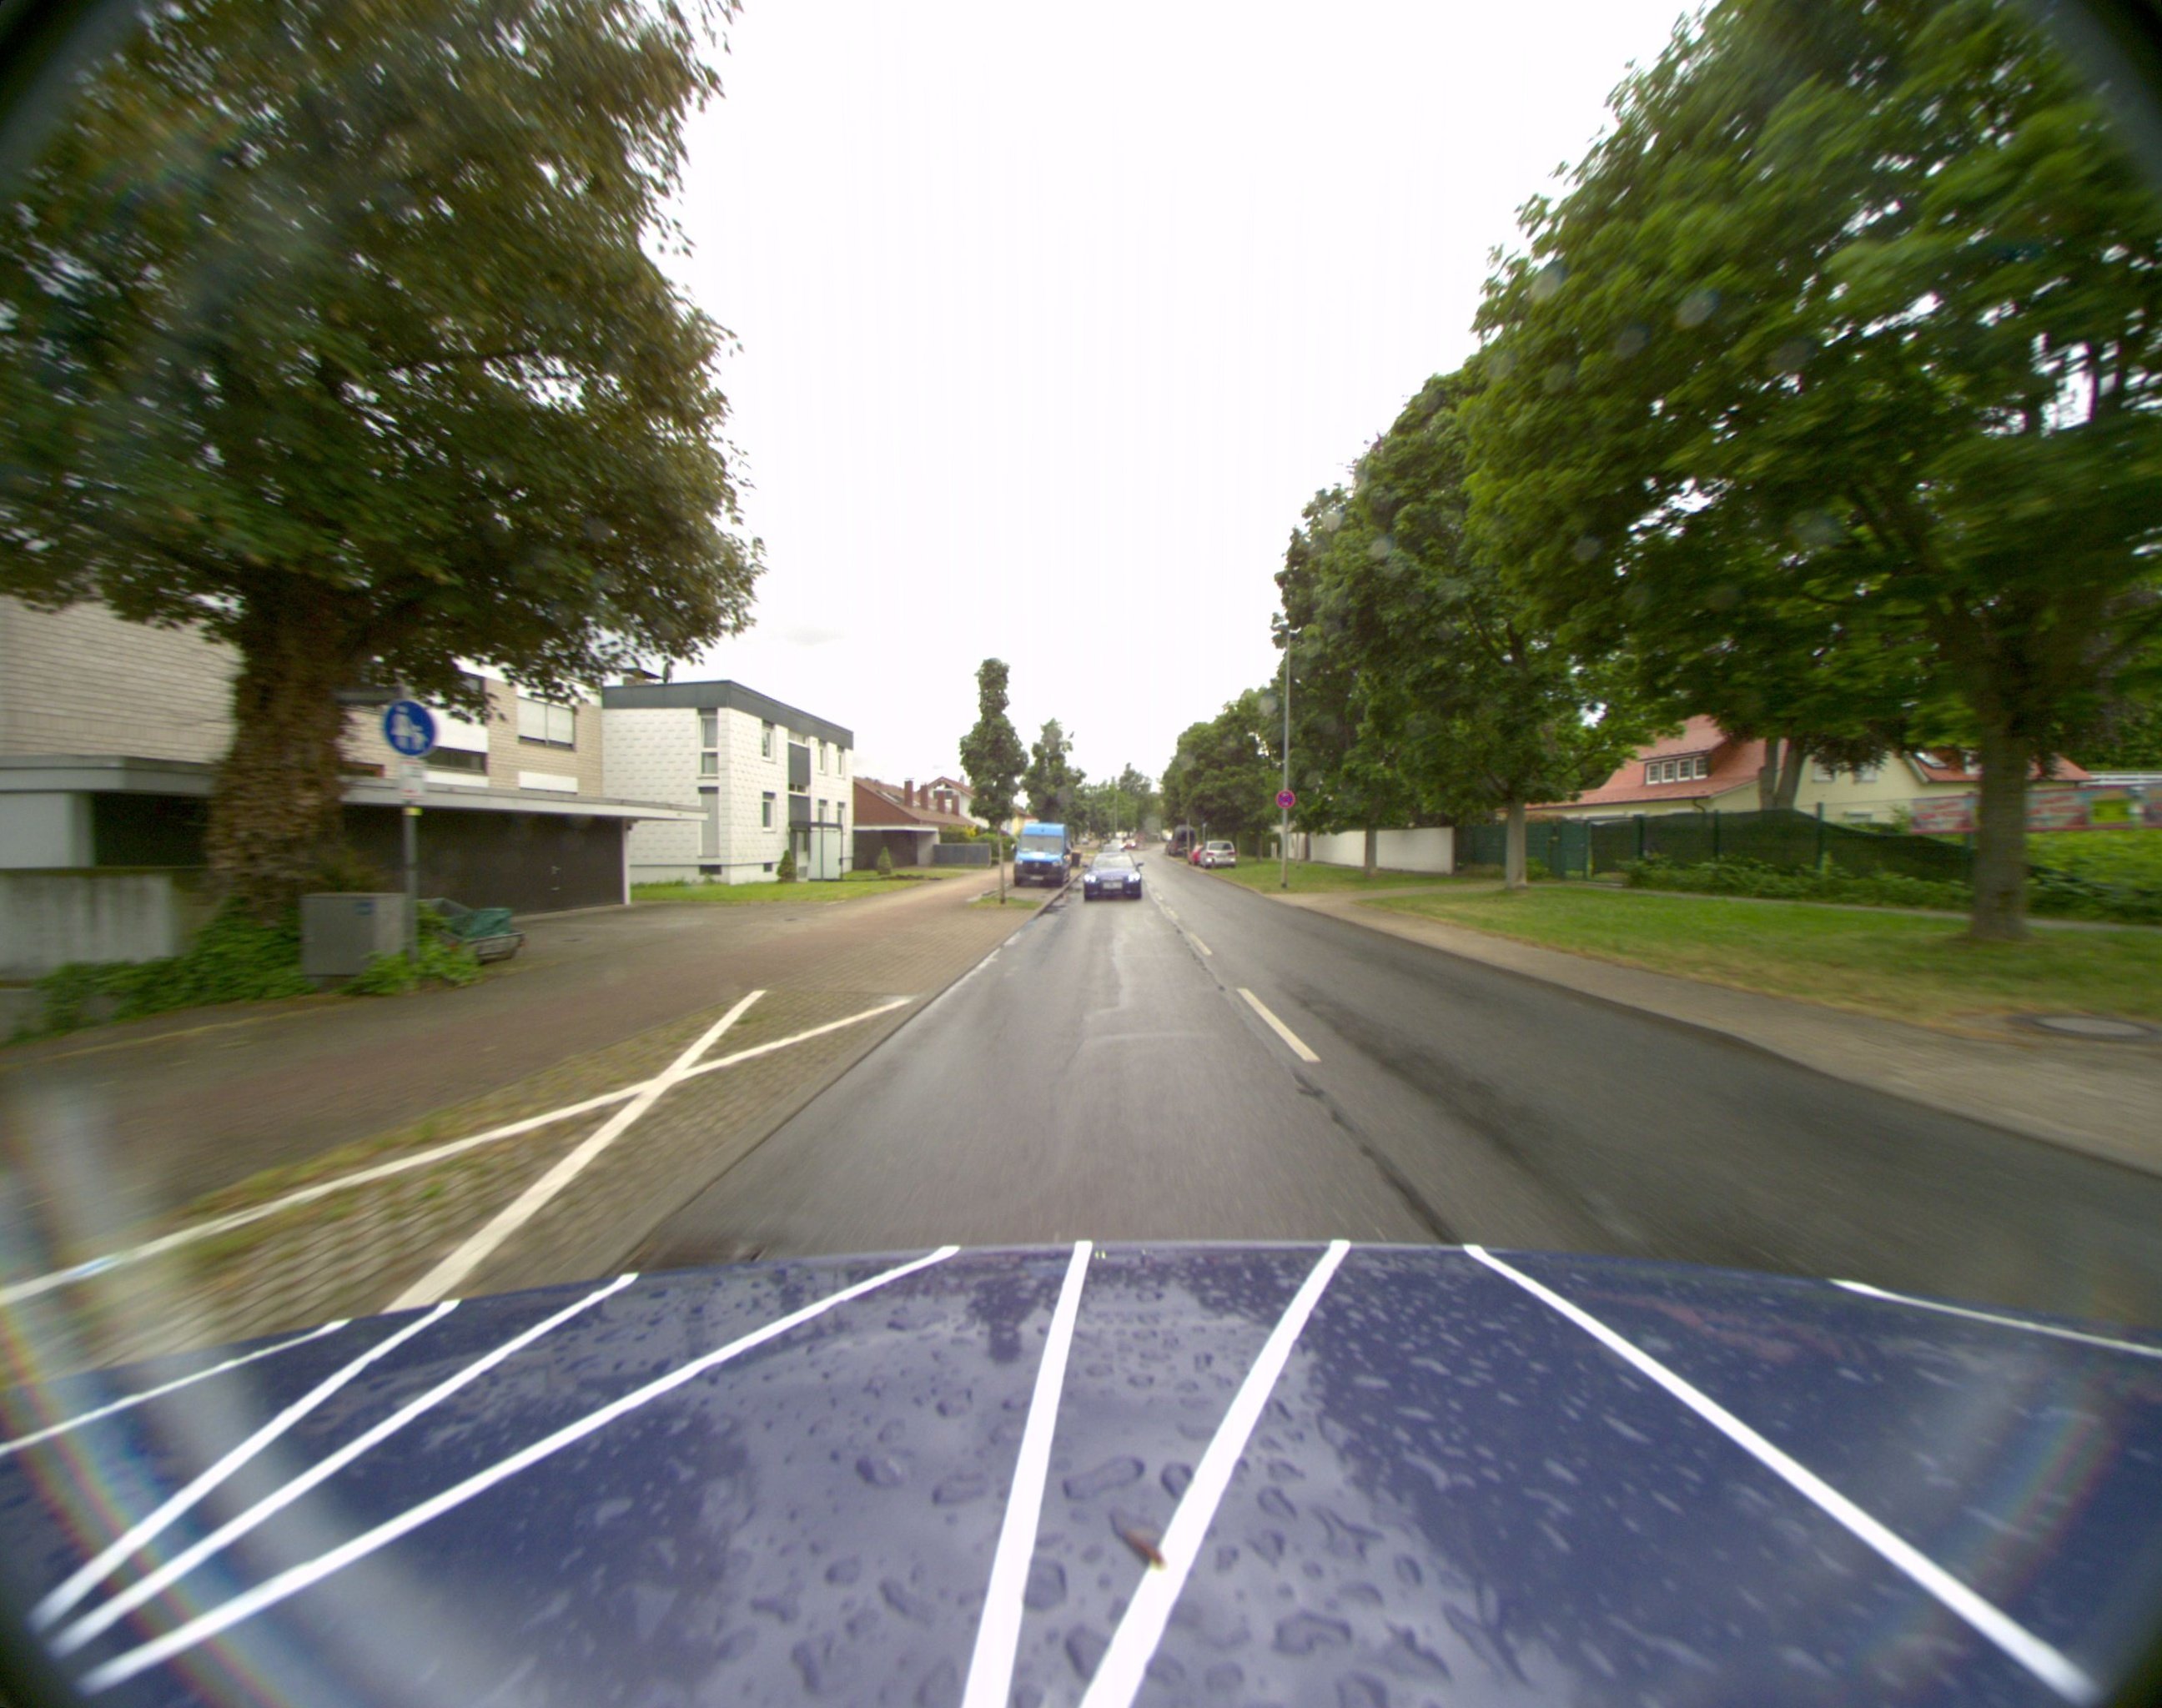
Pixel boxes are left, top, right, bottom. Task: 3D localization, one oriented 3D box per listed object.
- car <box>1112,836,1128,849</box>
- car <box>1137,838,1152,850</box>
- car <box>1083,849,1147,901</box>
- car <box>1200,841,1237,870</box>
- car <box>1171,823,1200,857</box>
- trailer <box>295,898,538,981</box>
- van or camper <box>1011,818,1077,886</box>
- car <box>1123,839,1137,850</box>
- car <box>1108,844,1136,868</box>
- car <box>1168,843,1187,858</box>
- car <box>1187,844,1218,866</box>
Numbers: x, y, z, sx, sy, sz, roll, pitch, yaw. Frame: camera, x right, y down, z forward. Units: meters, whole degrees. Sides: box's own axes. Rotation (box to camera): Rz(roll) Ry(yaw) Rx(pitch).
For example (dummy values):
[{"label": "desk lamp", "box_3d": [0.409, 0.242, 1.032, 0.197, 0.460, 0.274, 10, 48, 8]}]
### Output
[{"label": "car", "box_3d": [4.892, -1.389, 95.309, 1.895, 1.531, 4.001, -2, 0, 4]}, {"label": "car", "box_3d": [8.907, -1.370, 106.089, 1.895, 1.531, 4.002, -2, 0, 6]}, {"label": "car", "box_3d": [1.164, 0.647, 25.387, 1.895, 1.531, 4.001, -2, 0, 3]}, {"label": "car", "box_3d": [8.021, 0.040, 44.559, 1.774, 1.597, 4.001, -1, 1, 5]}, {"label": "car", "box_3d": [9.294, -1.250, 67.816, 2.247, 2.822, 5.045, -2, 1, 5]}, {"label": "trailer", "box_3d": [-8.817, 1.107, 10.184, 2.179, 0.953, 1.270, 0, 0, 4]}, {"label": "van or camper", "box_3d": [-1.452, -0.129, 32.200, 2.148, 2.594, 5.782, 1, 1, 3]}, {"label": "car", "box_3d": [7.319, -1.357, 113.550, 1.894, 1.531, 4.002, -2, 0, 7]}, {"label": "car", "box_3d": [2.915, 0.129, 54.568, 1.846, 1.531, 4.000, -2, 0, 2]}, {"label": "car", "box_3d": [9.513, -0.344, 74.996, 1.705, 1.316, 3.844, -3, 1, 5]}, {"label": "car", "box_3d": [7.938, 0.051, 50.046, 1.705, 1.316, 3.844, -3, 1, 5]}]
